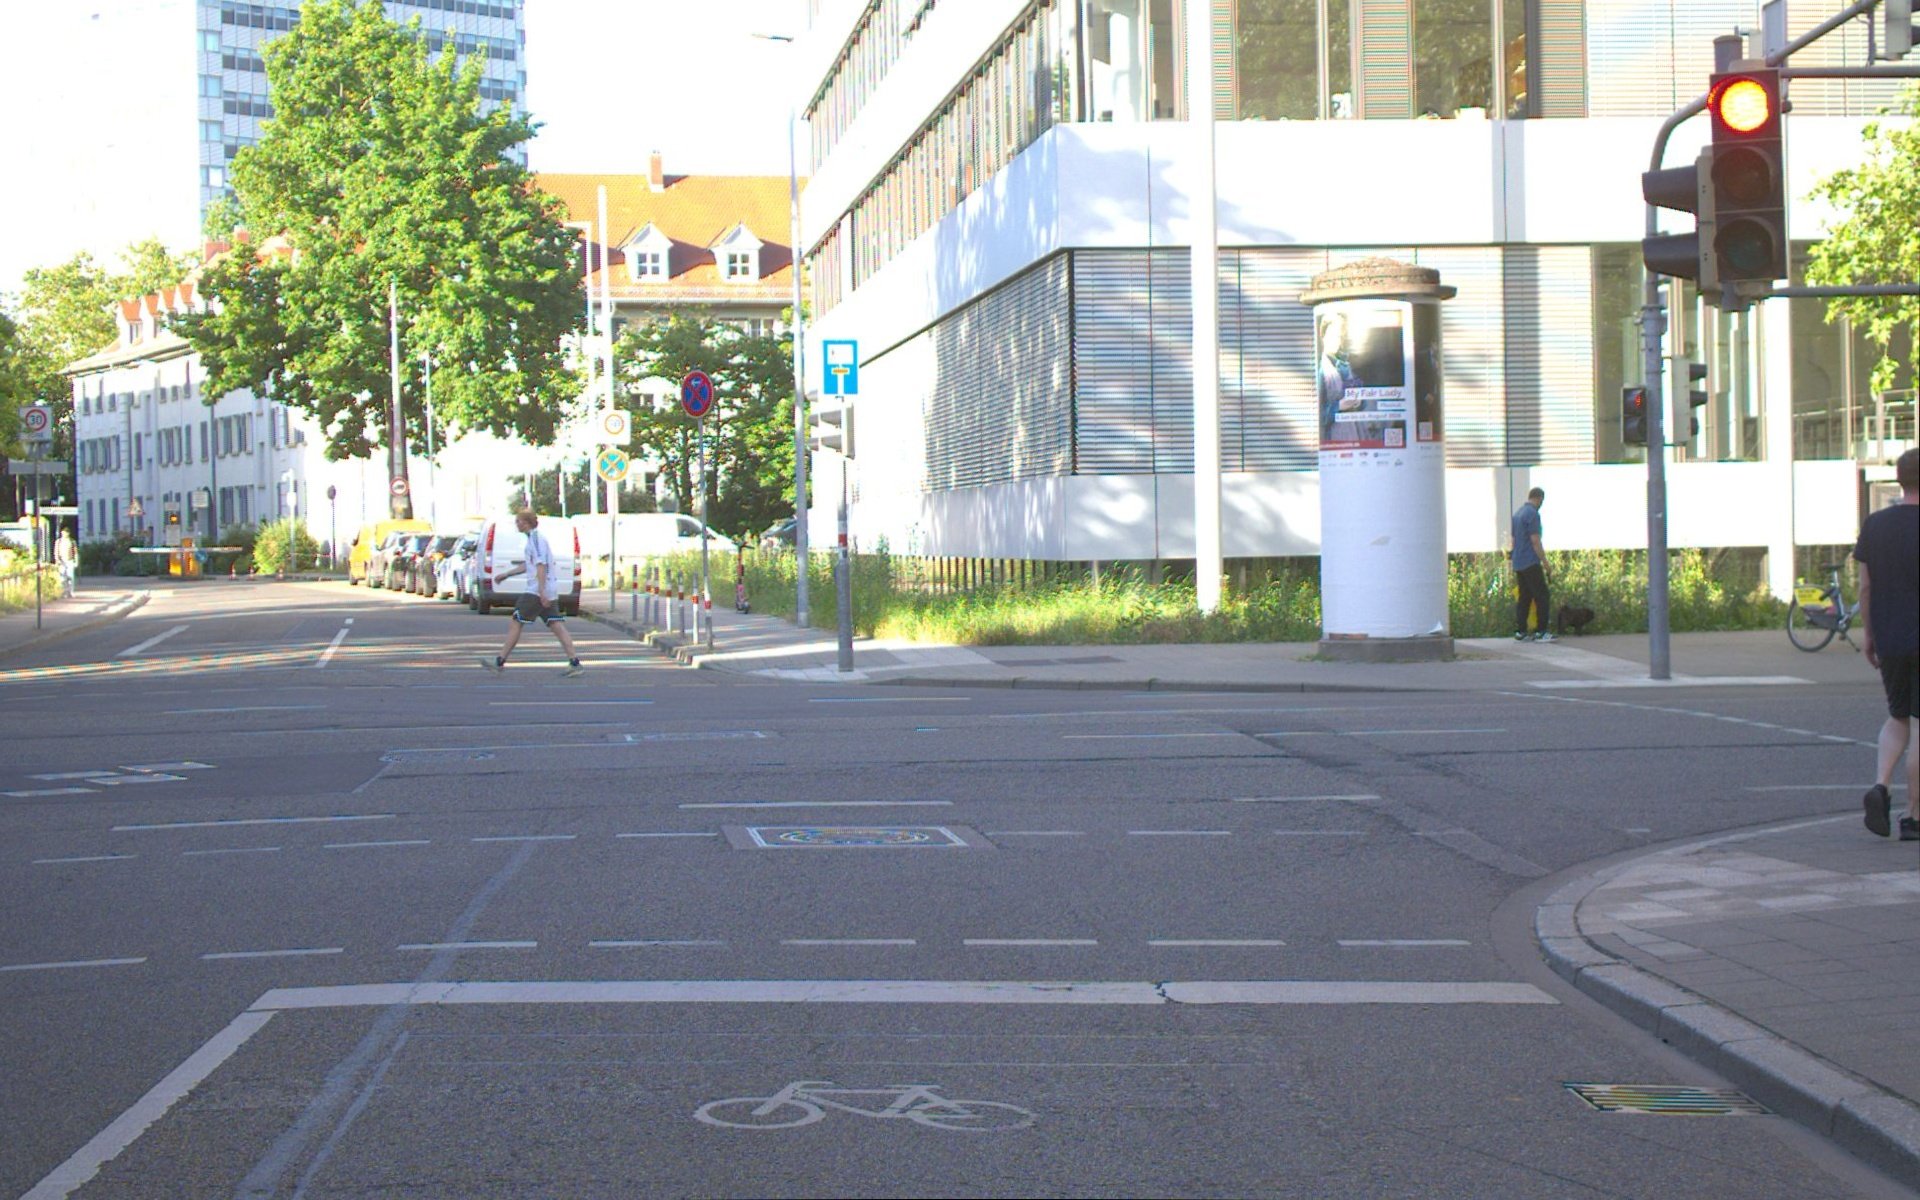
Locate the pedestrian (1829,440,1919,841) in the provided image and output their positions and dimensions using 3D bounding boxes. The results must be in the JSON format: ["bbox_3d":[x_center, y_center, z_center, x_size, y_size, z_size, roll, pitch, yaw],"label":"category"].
[{"bbox_3d":[4.399,0.178,15.815,0.700,1.804,0.719,1,0,19],"label":"pedestrian"}]

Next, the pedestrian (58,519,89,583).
[{"bbox_3d":[-21.848,-1.208,84.692,0.699,1.581,0.637,1,0,-16],"label":"pedestrian"}]

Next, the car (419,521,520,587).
[{"bbox_3d":[-11.625,-1.078,81.269,1.993,1.493,4.288,1,1,-13],"label":"car"}]

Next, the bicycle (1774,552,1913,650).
[{"bbox_3d":[9.288,0.005,36.163,0.378,1.005,1.432,-2,2,-42],"label":"bicycle"}]

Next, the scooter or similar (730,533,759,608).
[{"bbox_3d":[-3.657,-0.505,58.306,0.437,1.252,1.420,-1,1,-4],"label":"scooter or similar"}]

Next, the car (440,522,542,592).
[{"bbox_3d":[-10.503,-0.951,76.822,1.993,1.493,4.653,1,1,-11],"label":"car"}]

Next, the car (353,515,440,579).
[{"bbox_3d":[-15.738,-1.471,95.848,1.993,1.719,4.653,1,1,-14],"label":"car"}]

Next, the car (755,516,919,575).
[{"bbox_3d":[-3.755,-1.660,104.789,4.635,1.719,2.001,1,1,-16],"label":"car"}]

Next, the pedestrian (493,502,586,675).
[{"bbox_3d":[-4.615,-0.129,37.758,0.914,1.862,0.742,1,0,-1],"label":"pedestrian"}]

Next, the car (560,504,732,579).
[{"bbox_3d":[-9.402,-1.729,102.945,4.791,2.151,2.001,1,0,-17],"label":"car"}]

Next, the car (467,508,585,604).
[{"bbox_3d":[-8.218,-0.830,64.837,1.993,1.719,4.653,1,1,-10],"label":"car"}]

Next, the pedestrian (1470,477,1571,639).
[{"bbox_3d":[6.339,-0.477,38.926,0.914,1.809,0.762,1,0,-8],"label":"pedestrian"}]

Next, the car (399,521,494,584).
[{"bbox_3d":[-12.879,-1.182,85.992,1.993,1.493,4.653,1,1,-13],"label":"car"}]
